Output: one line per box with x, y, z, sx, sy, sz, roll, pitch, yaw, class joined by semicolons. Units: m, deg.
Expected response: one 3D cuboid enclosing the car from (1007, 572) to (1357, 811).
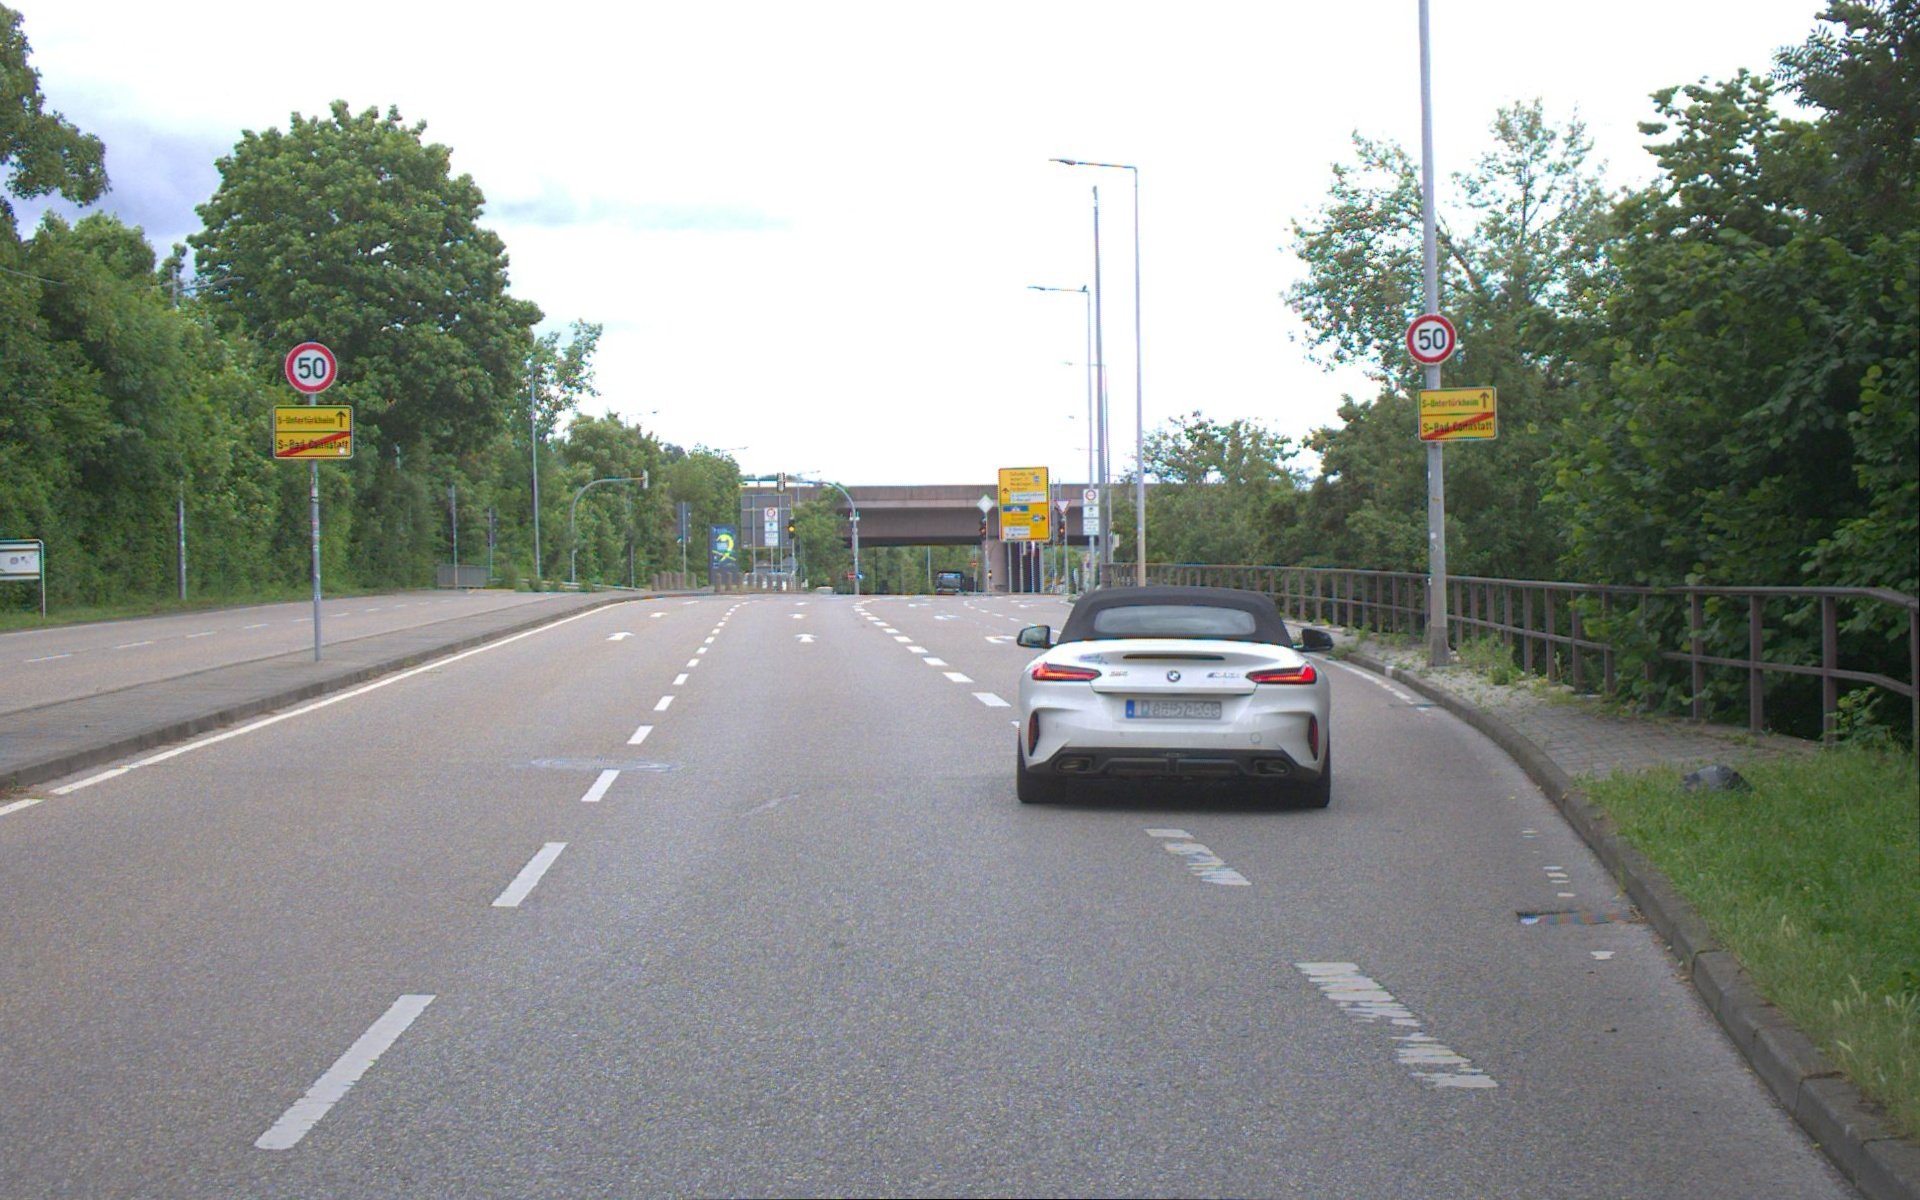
1.295;0.505;21.530;1.875;1.305;3.873;2;0;0;car
